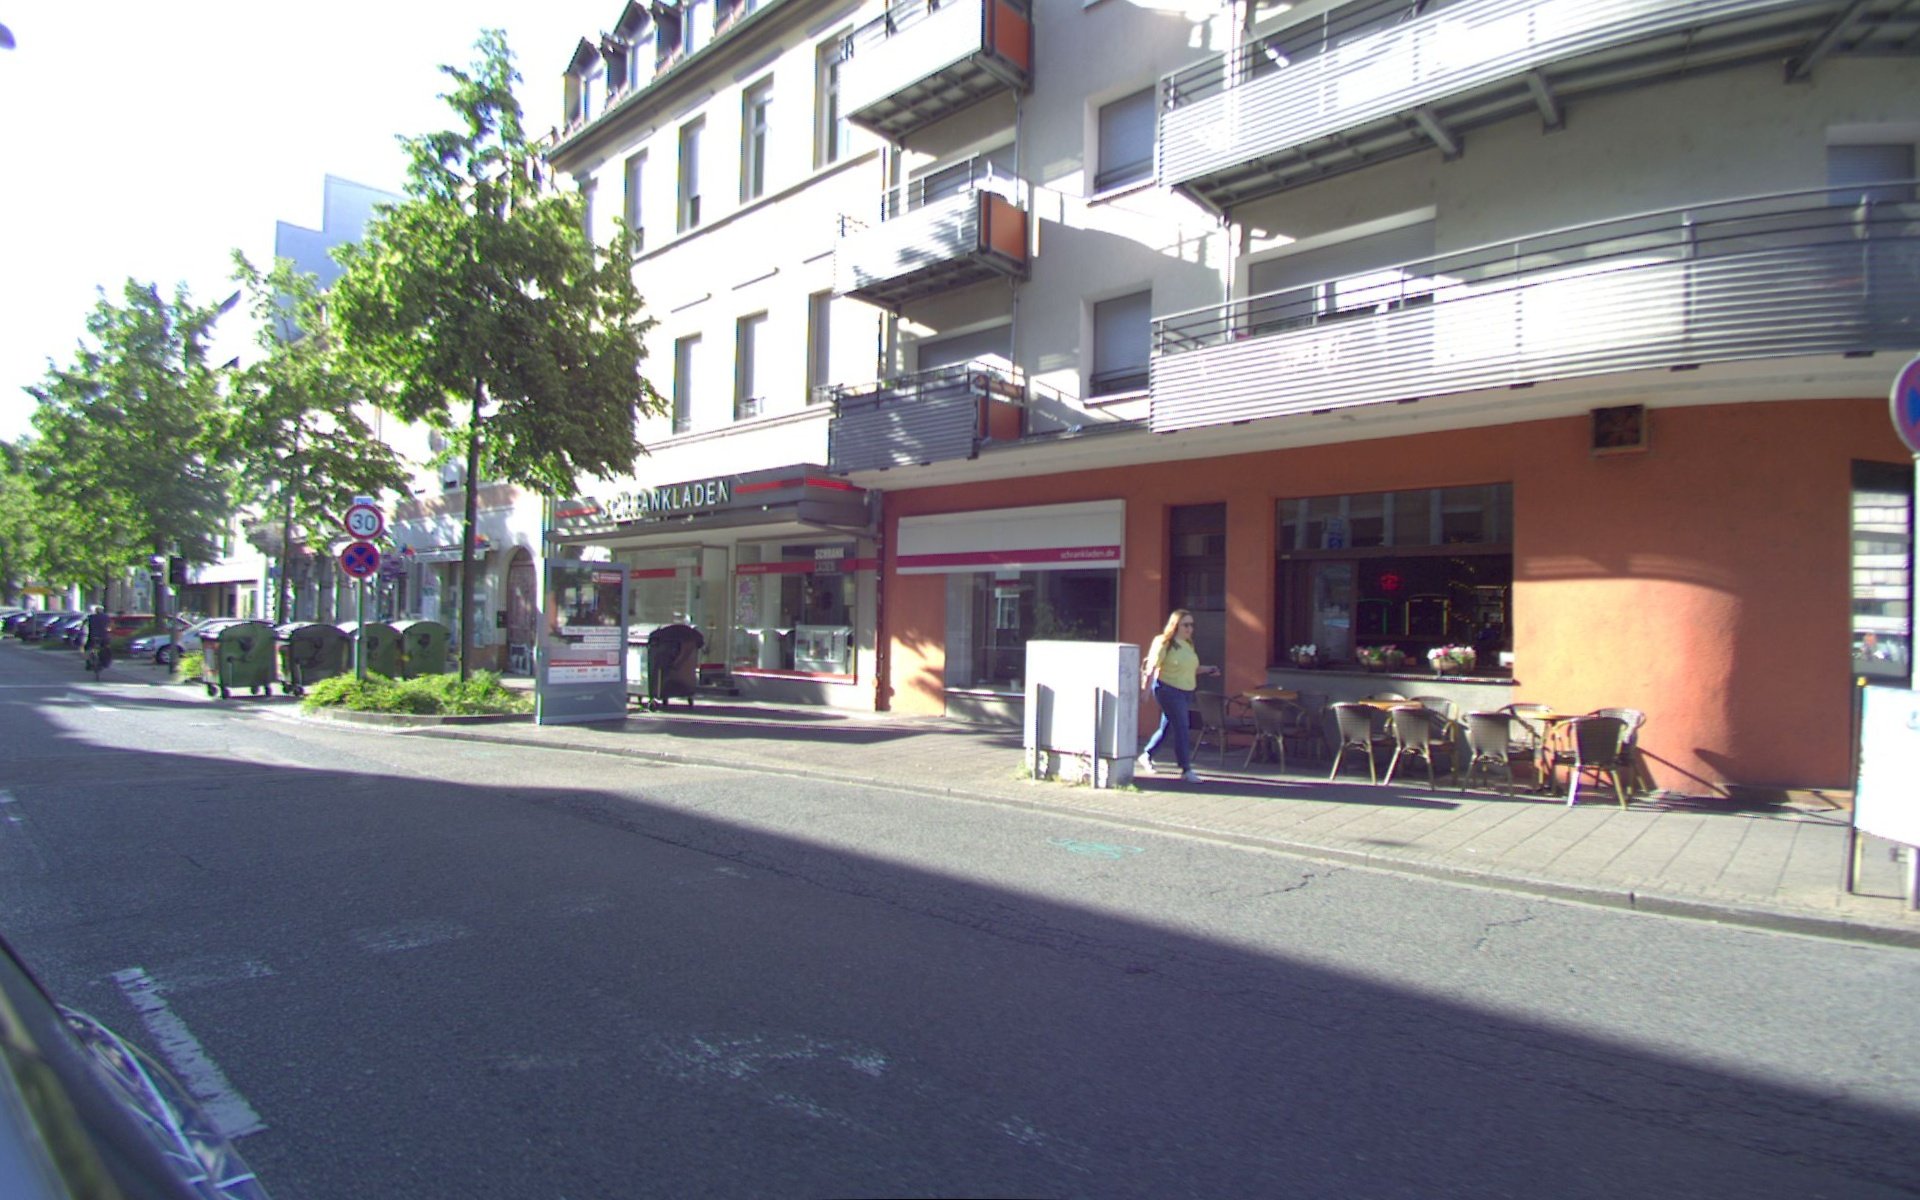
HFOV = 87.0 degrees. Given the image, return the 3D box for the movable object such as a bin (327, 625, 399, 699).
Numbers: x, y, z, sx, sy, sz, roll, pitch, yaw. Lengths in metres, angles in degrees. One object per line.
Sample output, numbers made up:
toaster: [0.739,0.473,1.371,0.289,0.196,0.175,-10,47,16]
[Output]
movable object such as a bin: [-12.556,1.285,21.283,1.143,1.483,0.953,-1,-3,41]

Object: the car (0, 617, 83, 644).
car: [-55.937,1.830,61.083,1.946,1.582,4.319,-1,-2,43]

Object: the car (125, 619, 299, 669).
car: [-23.359,1.330,31.703,1.740,1.479,4.155,-1,-2,44]

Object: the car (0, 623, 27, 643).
car: [-72.267,2.437,75.465,1.708,1.475,3.740,-1,-2,39]

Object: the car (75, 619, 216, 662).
car: [-29.204,1.426,36.365,1.739,1.479,3.708,-1,-2,42]

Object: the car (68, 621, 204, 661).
car: [-31.091,1.523,38.255,1.790,1.439,3.798,-1,-2,44]

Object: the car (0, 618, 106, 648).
car: [-45.916,1.682,51.287,1.779,1.470,3.743,-1,-2,39]

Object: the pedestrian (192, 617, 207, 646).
pedestrian: [-37.127,1.550,49.397,0.502,1.419,0.826,1,-2,-43]

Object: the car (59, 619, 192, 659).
car: [-32.818,1.519,39.872,1.771,1.497,3.875,-1,-2,44]

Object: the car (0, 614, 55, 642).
car: [-62.696,1.853,66.916,2.038,1.850,4.061,-2,-2,43]

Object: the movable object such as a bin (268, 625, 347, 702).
movable object such as a bin: [-13.166,1.256,20.419,1.143,1.483,1.031,-1,-3,41]

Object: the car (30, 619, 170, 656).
car: [-37.579,1.597,44.314,1.789,1.470,4.447,-1,-1,40]

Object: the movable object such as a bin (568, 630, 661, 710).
movable object such as a bin: [-6.161,1.222,18.050,1.313,1.355,1.031,-1,-3,41]

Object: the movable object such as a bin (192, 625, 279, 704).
movable object such as a bin: [-14.197,1.241,19.827,1.452,1.483,1.031,-1,-3,41]

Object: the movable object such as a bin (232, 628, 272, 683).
movable object such as a bin: [-18.005,1.404,25.744,0.805,1.351,0.627,-1,-3,41]

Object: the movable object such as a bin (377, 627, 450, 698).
movable object such as a bin: [-11.921,1.338,22.083,1.143,1.483,1.031,-1,-3,41]

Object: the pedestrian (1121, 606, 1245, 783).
pedestrian: [2.230,0.909,10.158,1.036,1.672,0.658,-1,-3,42]

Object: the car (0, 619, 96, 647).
car: [-53.775,1.945,59.471,1.980,1.582,4.319,-1,-2,43]

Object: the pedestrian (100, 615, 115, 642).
pedestrian: [-51.934,1.732,61.656,0.726,1.638,0.559,-1,2,40]

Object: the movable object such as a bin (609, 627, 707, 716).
movable object such as a bin: [-5.105,1.179,17.120,1.313,1.415,1.031,-1,-3,41]

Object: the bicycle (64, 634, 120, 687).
bicycle: [-20.380,1.401,23.750,1.966,1.155,0.698,-1,-3,41]

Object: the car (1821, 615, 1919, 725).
car: [19.441,1.414,20.092,2.019,2.065,4.325,1,-3,18]

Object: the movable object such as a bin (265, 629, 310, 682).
movable object such as a bin: [-17.496,1.437,26.319,0.805,1.351,0.746,-1,-3,41]

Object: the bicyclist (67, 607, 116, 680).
bicyclist: [-20.435,1.018,23.813,1.035,1.665,0.689,-1,-3,41]
